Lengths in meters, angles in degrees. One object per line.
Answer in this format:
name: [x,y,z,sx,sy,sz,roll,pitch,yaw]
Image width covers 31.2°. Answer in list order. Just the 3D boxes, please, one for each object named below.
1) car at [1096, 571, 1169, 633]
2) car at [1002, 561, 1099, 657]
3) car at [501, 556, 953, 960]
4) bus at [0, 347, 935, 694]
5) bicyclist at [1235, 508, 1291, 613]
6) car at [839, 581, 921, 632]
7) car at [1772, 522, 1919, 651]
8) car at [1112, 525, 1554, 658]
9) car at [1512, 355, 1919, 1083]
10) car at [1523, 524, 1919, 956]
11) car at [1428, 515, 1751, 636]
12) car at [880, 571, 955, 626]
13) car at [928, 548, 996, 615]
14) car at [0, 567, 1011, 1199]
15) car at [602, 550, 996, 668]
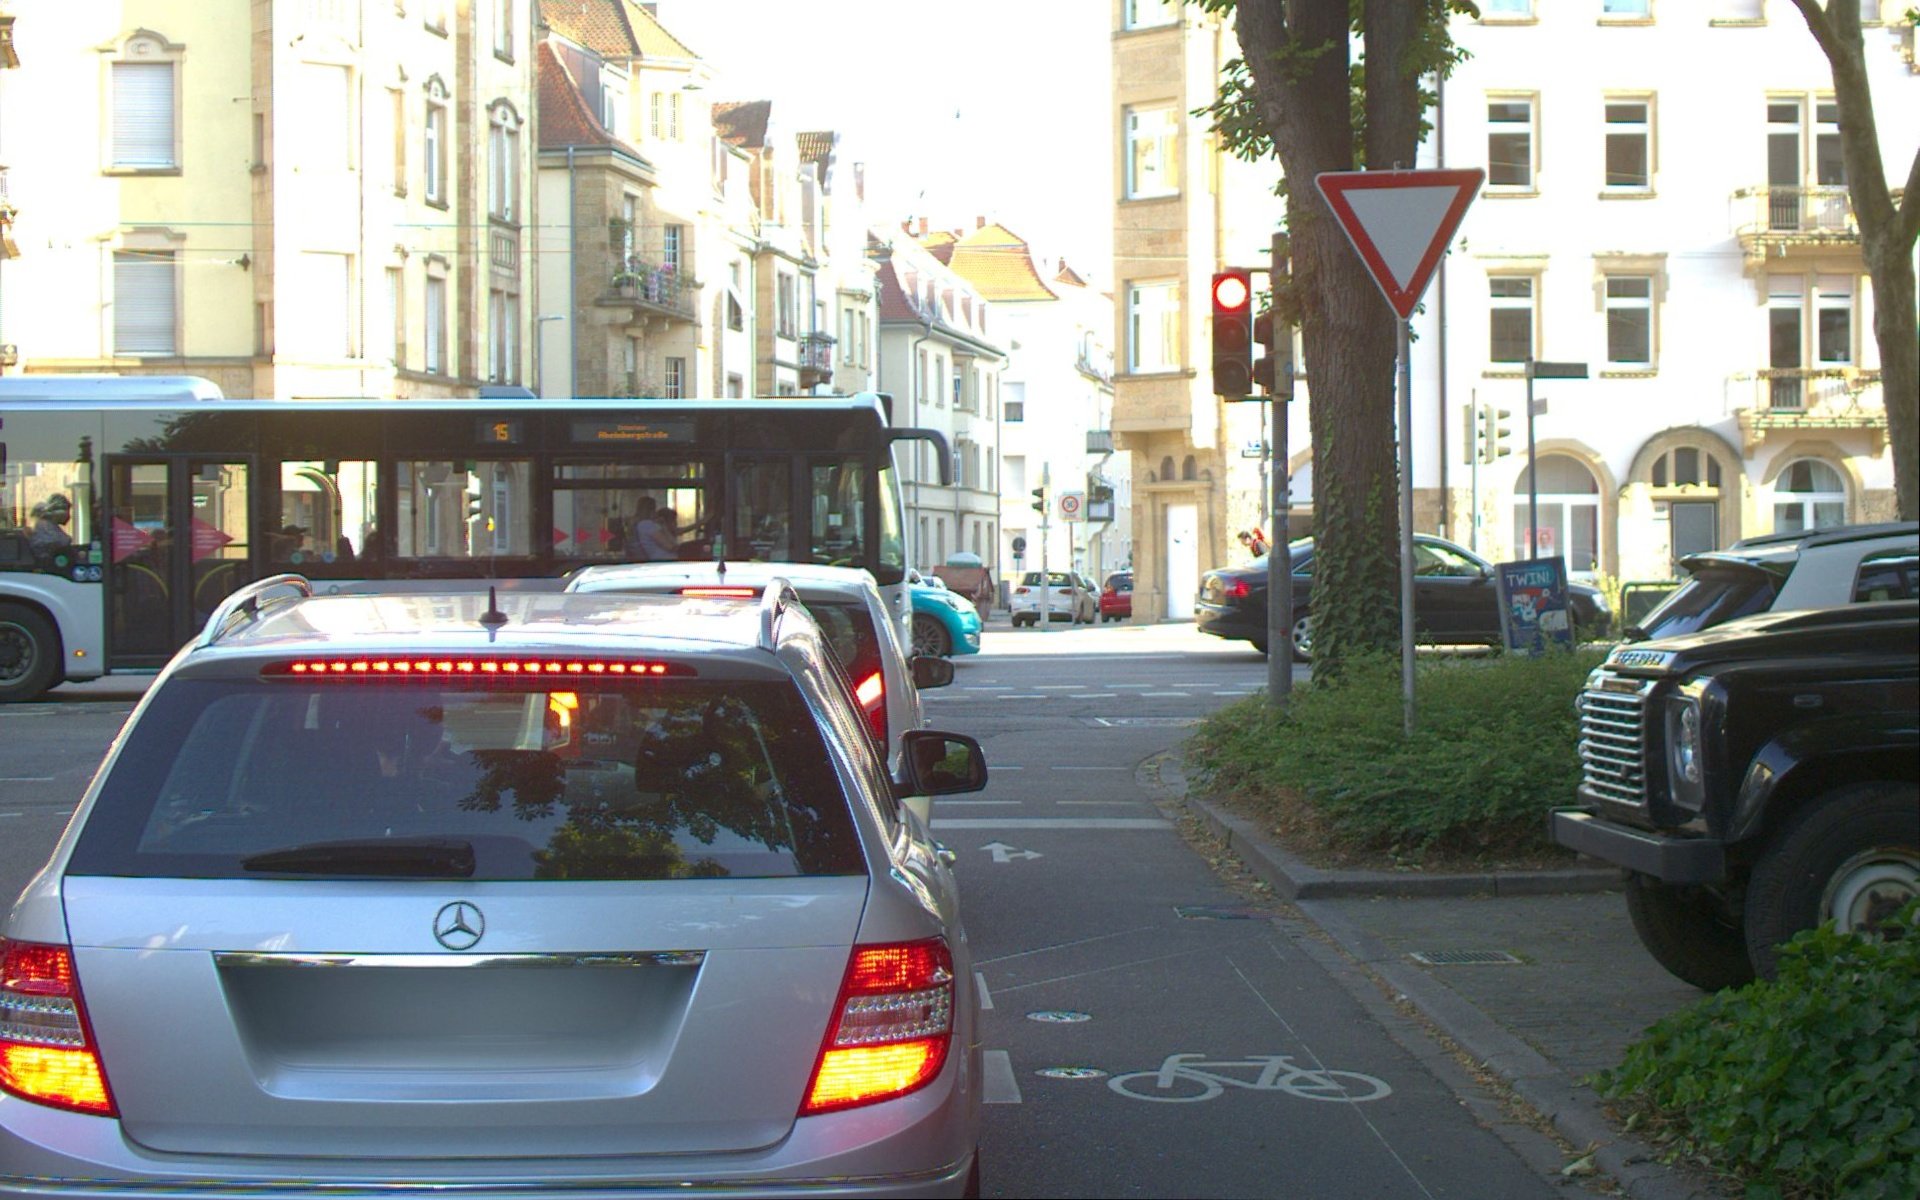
car: [5.169,0.033,102.457,1.835,1.738,3.999,0,1,8]
car: [2.300,0.199,86.423,2.031,2.272,3.999,0,1,8]
car: [-0.924,0.546,14.573,1.619,1.442,4.345,0,1,-2]
bus: [-5.642,-0.800,33.967,10.450,3.190,2.912,-1,1,-8]
bicyclist: [5.396,-0.708,61.238,0.891,1.853,0.637,0,1,-5]
car: [-2.373,0.176,103.053,1.835,1.397,3.999,0,2,8]
car: [11.436,-0.182,39.722,3.685,1.444,1.516,-1,1,-8]
car: [4.197,-0.116,38.971,4.687,1.424,1.719,-1,1,-8]
car: [4.127,0.278,10.646,4.465,2.029,1.701,-1,1,-3]
car: [4.281,0.473,13.616,3.723,1.564,1.709,-1,1,-4]
car: [7.882,-0.320,43.142,3.685,1.444,1.516,-1,1,-8]
car: [-1.331,-0.071,109.283,1.835,1.657,3.999,0,2,8]
car: [0.088,-0.654,117.969,1.787,2.196,3.999,0,1,8]
car: [-0.904,0.668,7.484,1.777,1.447,4.548,0,1,-2]
car: [-1.809,0.080,38.022,4.195,1.232,1.719,-1,1,-8]
